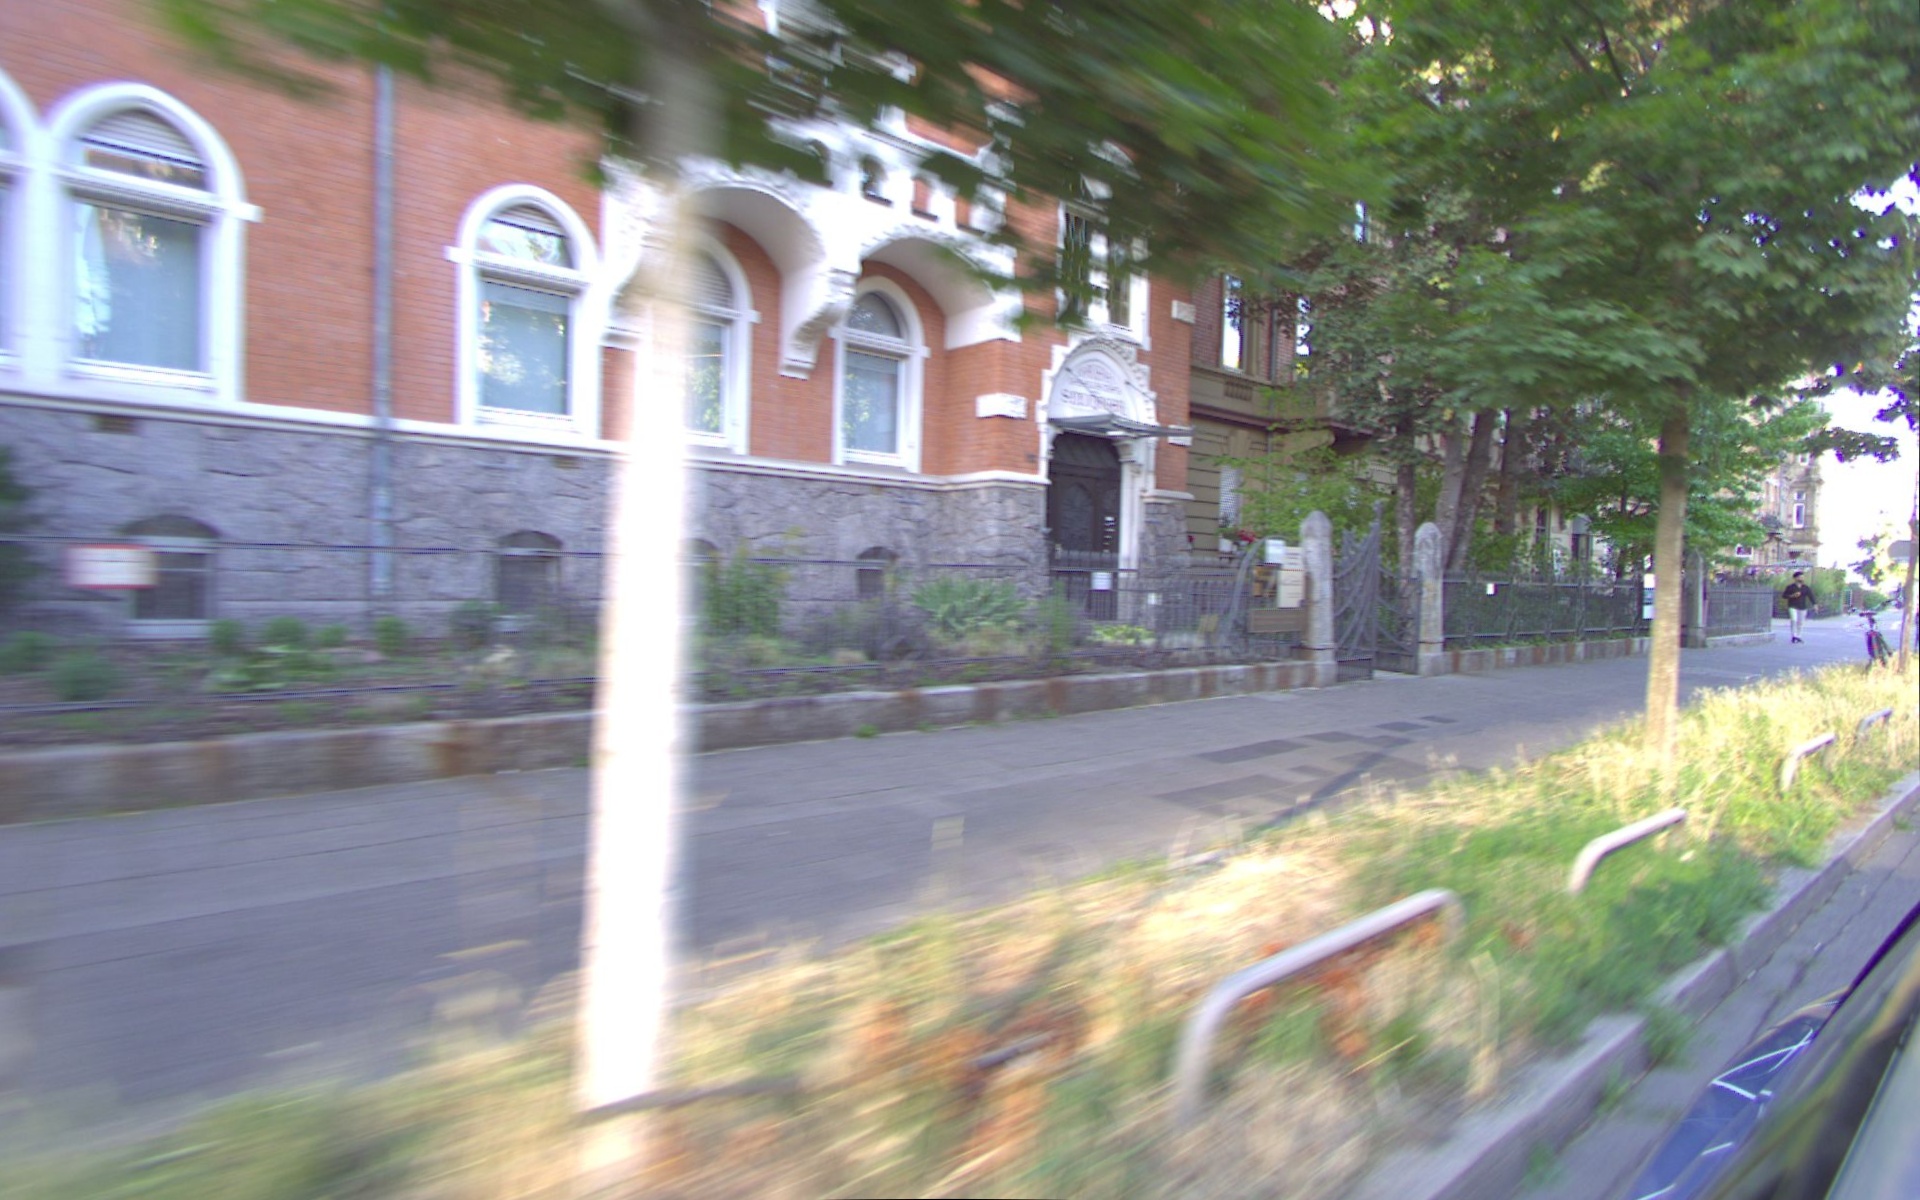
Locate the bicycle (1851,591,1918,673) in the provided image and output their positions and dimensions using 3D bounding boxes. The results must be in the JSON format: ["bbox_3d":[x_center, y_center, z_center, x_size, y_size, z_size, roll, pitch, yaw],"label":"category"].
[{"bbox_3d":[14.062,0.451,15.375,1.899,1.181,0.646,0,0,-44],"label":"bicycle"}]

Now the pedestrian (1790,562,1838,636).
[{"bbox_3d":[21.656,-0.033,25.676,0.744,1.799,0.820,6,5,38],"label":"pedestrian"}]
